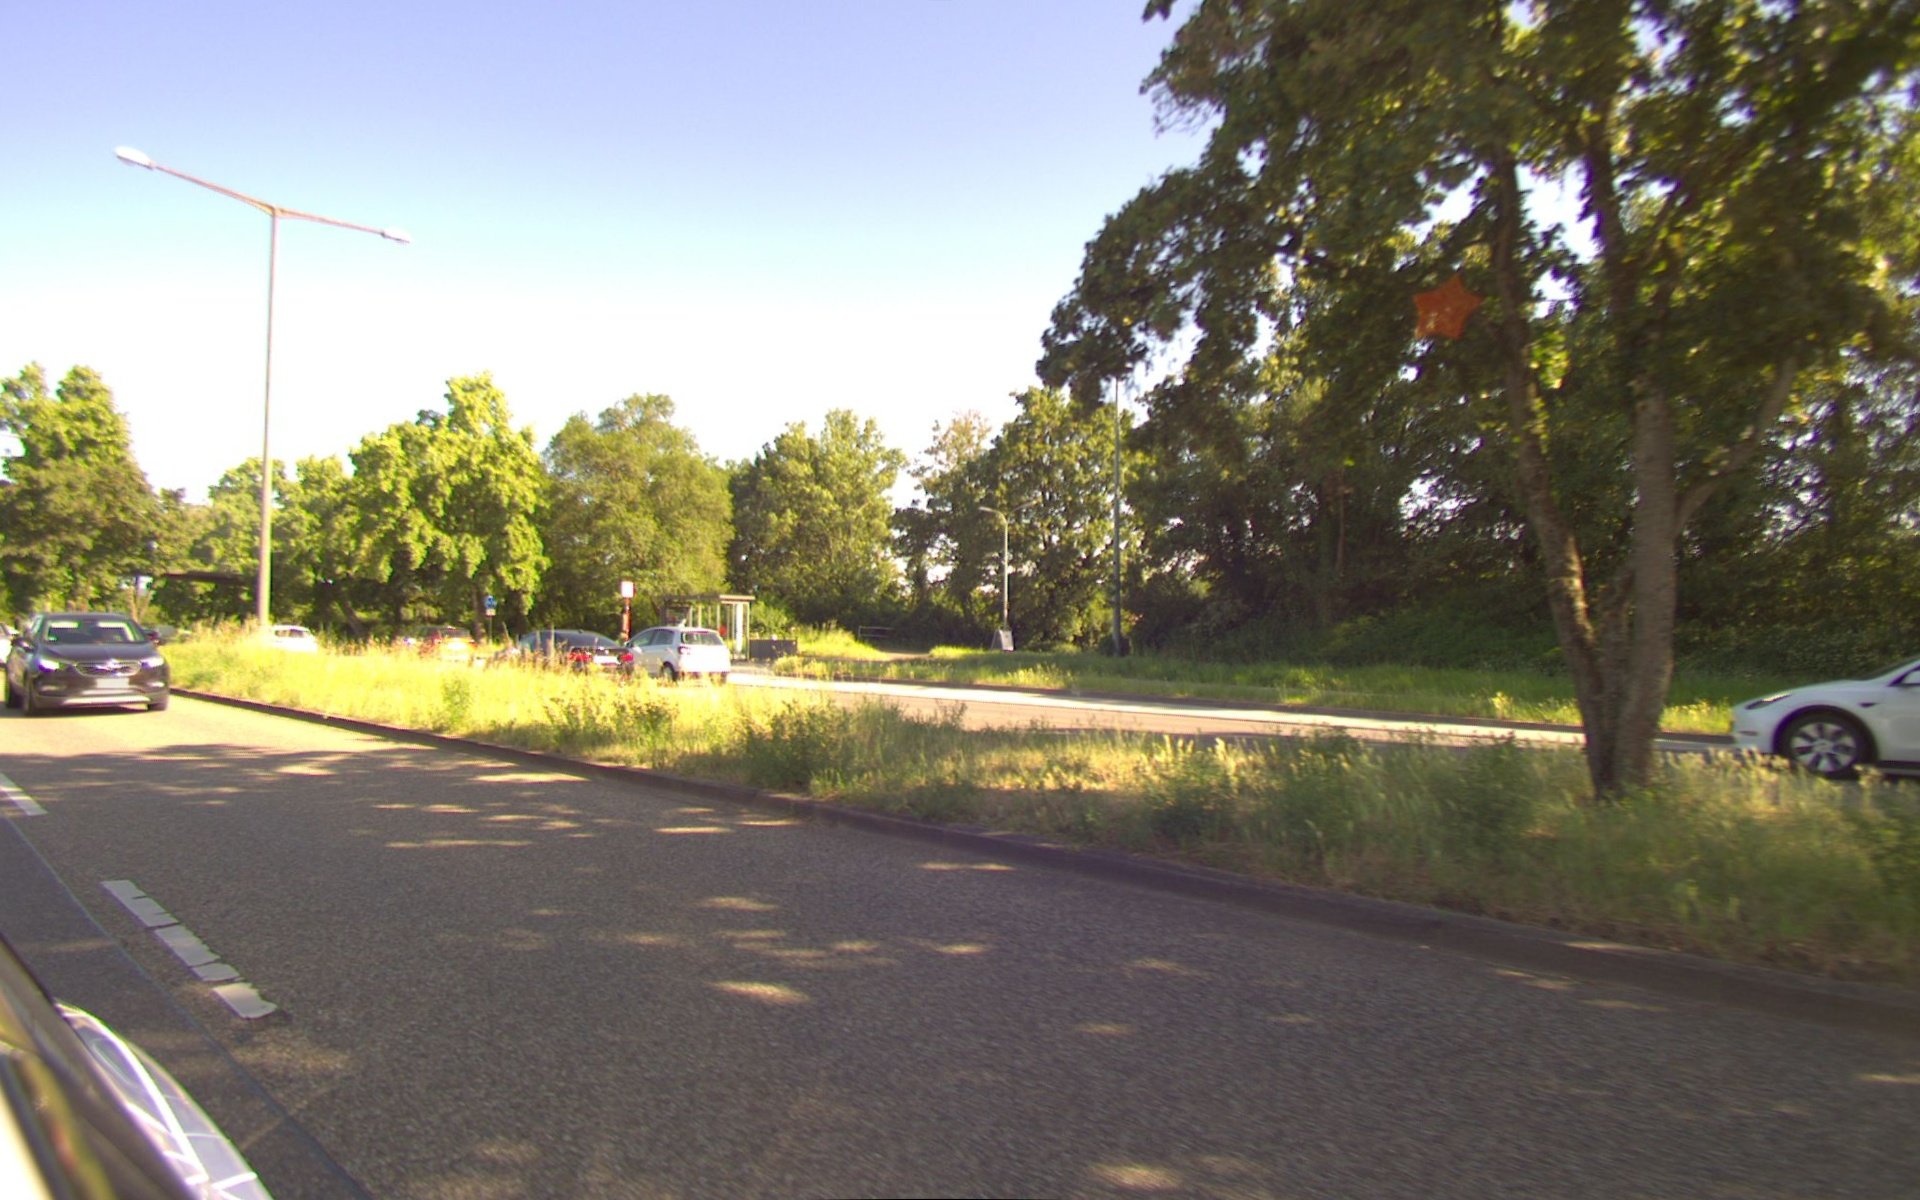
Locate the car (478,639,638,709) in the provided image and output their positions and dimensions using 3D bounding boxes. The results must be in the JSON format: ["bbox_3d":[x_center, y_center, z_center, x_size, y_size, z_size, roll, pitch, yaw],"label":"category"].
[{"bbox_3d":[-9.232,1.615,23.084,4.249,1.406,1.683,-2,-2,42],"label":"car"}]

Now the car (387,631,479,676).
[{"bbox_3d":[-19.914,2.002,38.184,3.997,1.575,1.587,-2,-5,40],"label":"car"}]

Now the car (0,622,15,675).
[{"bbox_3d":[-30.856,1.527,31.445,4.645,1.574,1.799,-3,-3,42],"label":"car"}]

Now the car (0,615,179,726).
[{"bbox_3d":[-14.766,1.091,16.971,4.512,1.627,1.787,-1,-2,41],"label":"car"}]

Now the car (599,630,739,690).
[{"bbox_3d":[-7.864,1.571,27.182,4.063,1.483,1.694,-2,-4,42],"label":"car"}]

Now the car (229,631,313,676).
[{"bbox_3d":[-26.417,2.015,38.751,4.358,1.615,1.695,-1,-3,43],"label":"car"}]

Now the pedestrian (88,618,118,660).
[{"bbox_3d":[-35.765,1.628,42.232,0.621,1.709,0.946,1,-2,-18],"label":"pedestrian"}]

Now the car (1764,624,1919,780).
[{"bbox_3d":[11.267,1.132,10.463,4.581,1.601,1.821,-2,-8,40],"label":"car"}]

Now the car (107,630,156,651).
[{"bbox_3d":[-57.340,2.780,70.020,4.976,1.371,1.763,-1,-2,41],"label":"car"}]
